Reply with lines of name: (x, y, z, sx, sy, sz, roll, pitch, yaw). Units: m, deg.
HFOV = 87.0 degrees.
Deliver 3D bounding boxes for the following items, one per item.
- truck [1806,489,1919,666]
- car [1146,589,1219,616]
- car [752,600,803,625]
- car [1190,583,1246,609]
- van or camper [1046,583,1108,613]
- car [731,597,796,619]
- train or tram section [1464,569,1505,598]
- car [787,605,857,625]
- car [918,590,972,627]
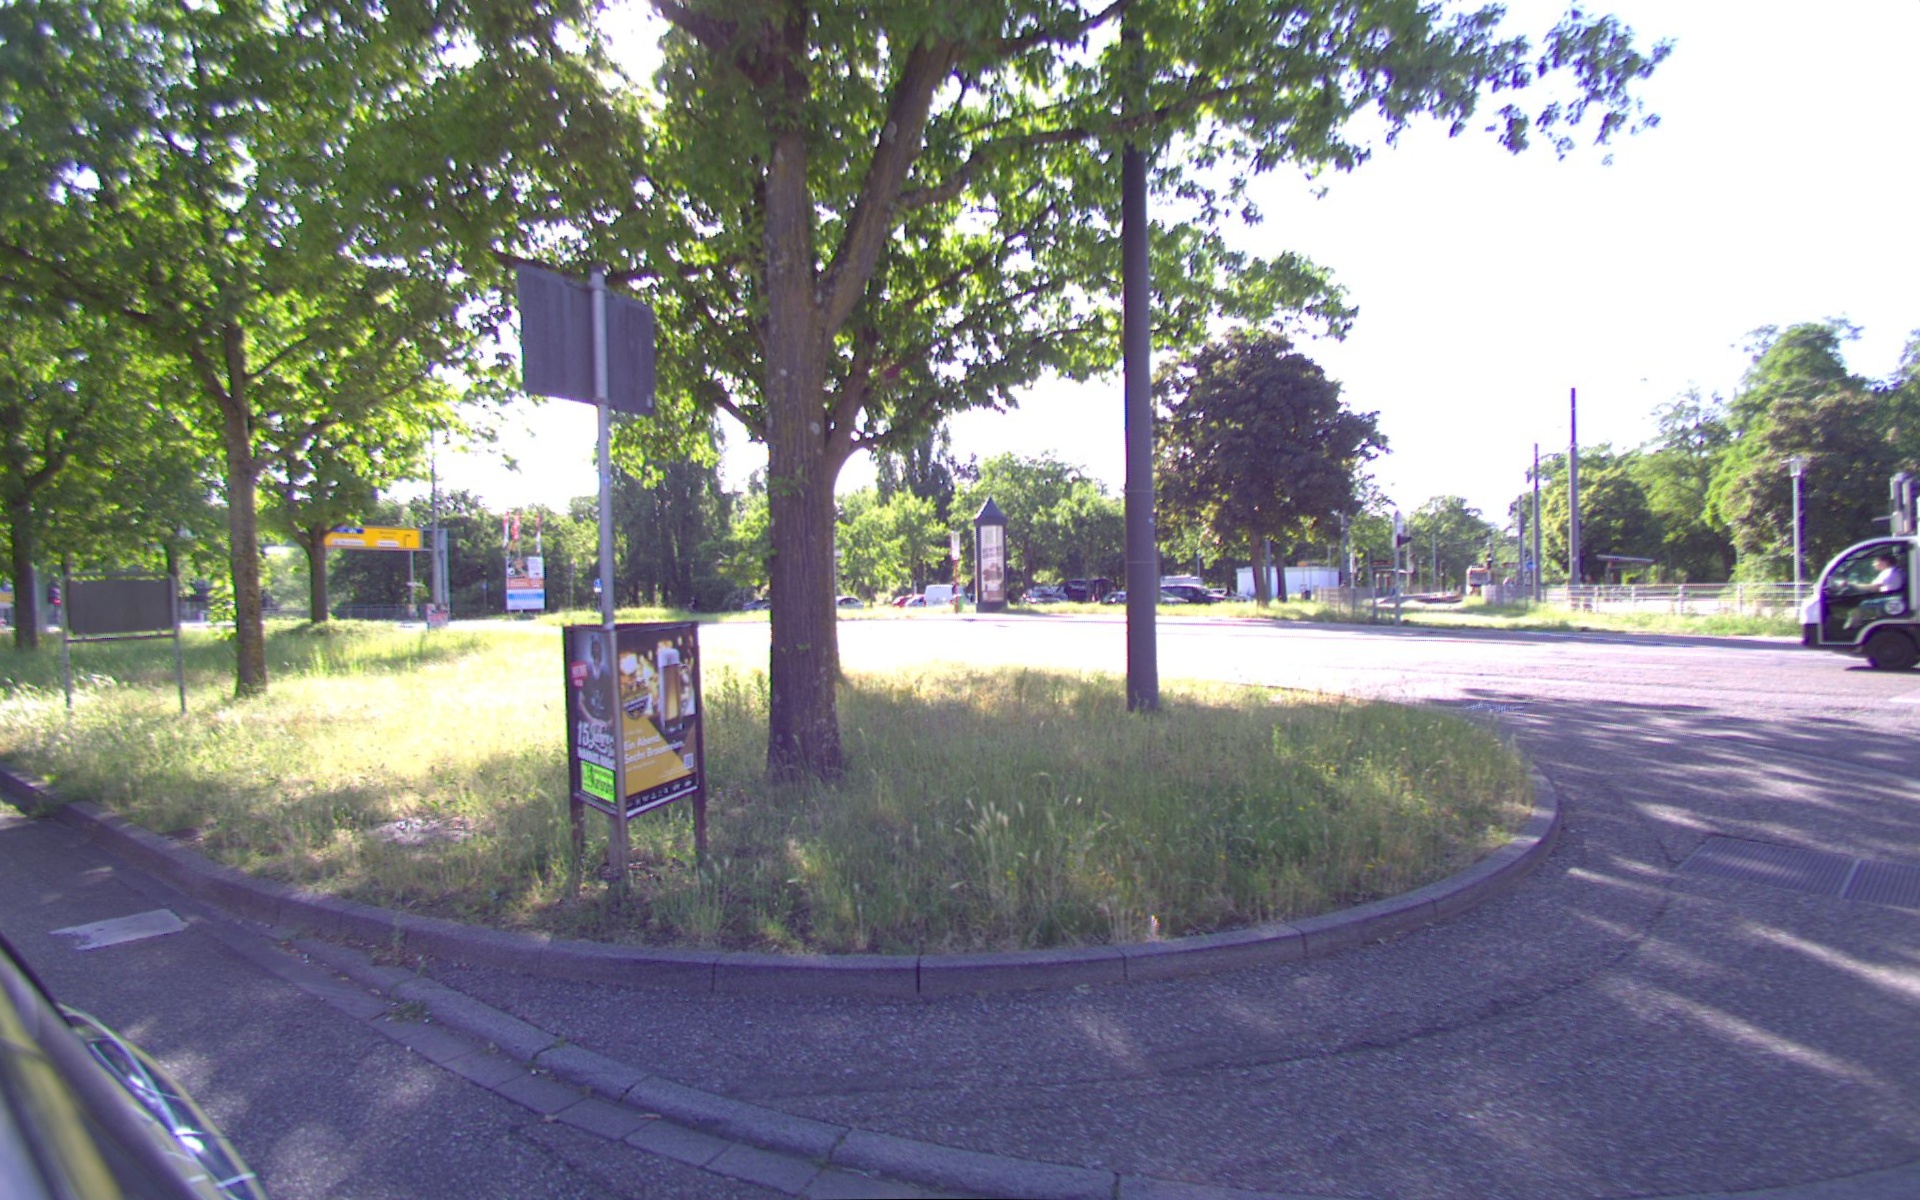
truck: (14.427, -0.336, 13.815, 1.765, 2.445, 4.118, -2, 1, -38)
car: (13.609, 0.154, 61.921, 3.979, 1.579, 1.982, -1, 1, 27)
car: (-11.752, 0.794, 64.986, 1.792, 1.459, 4.011, -1, 0, -34)
car: (18.803, -0.306, 73.892, 3.925, 1.732, 1.874, -1, 0, 14)
van or camper: (8.481, -0.133, 73.701, 1.967, 2.112, 4.411, -1, 0, -36)
car: (-15.186, 0.608, 78.283, 4.503, 1.475, 1.996, -1, 2, 8)
train or tram section: (58.143, -1.893, 111.837, 2.462, 2.962, 19.629, -1, 1, 32)
car: (-8.422, 0.933, 61.761, 3.985, 1.137, 1.803, -1, 0, 31)
car: (-0.833, 0.467, 59.883, 2.216, 2.029, 4.982, -1, 0, 11)
